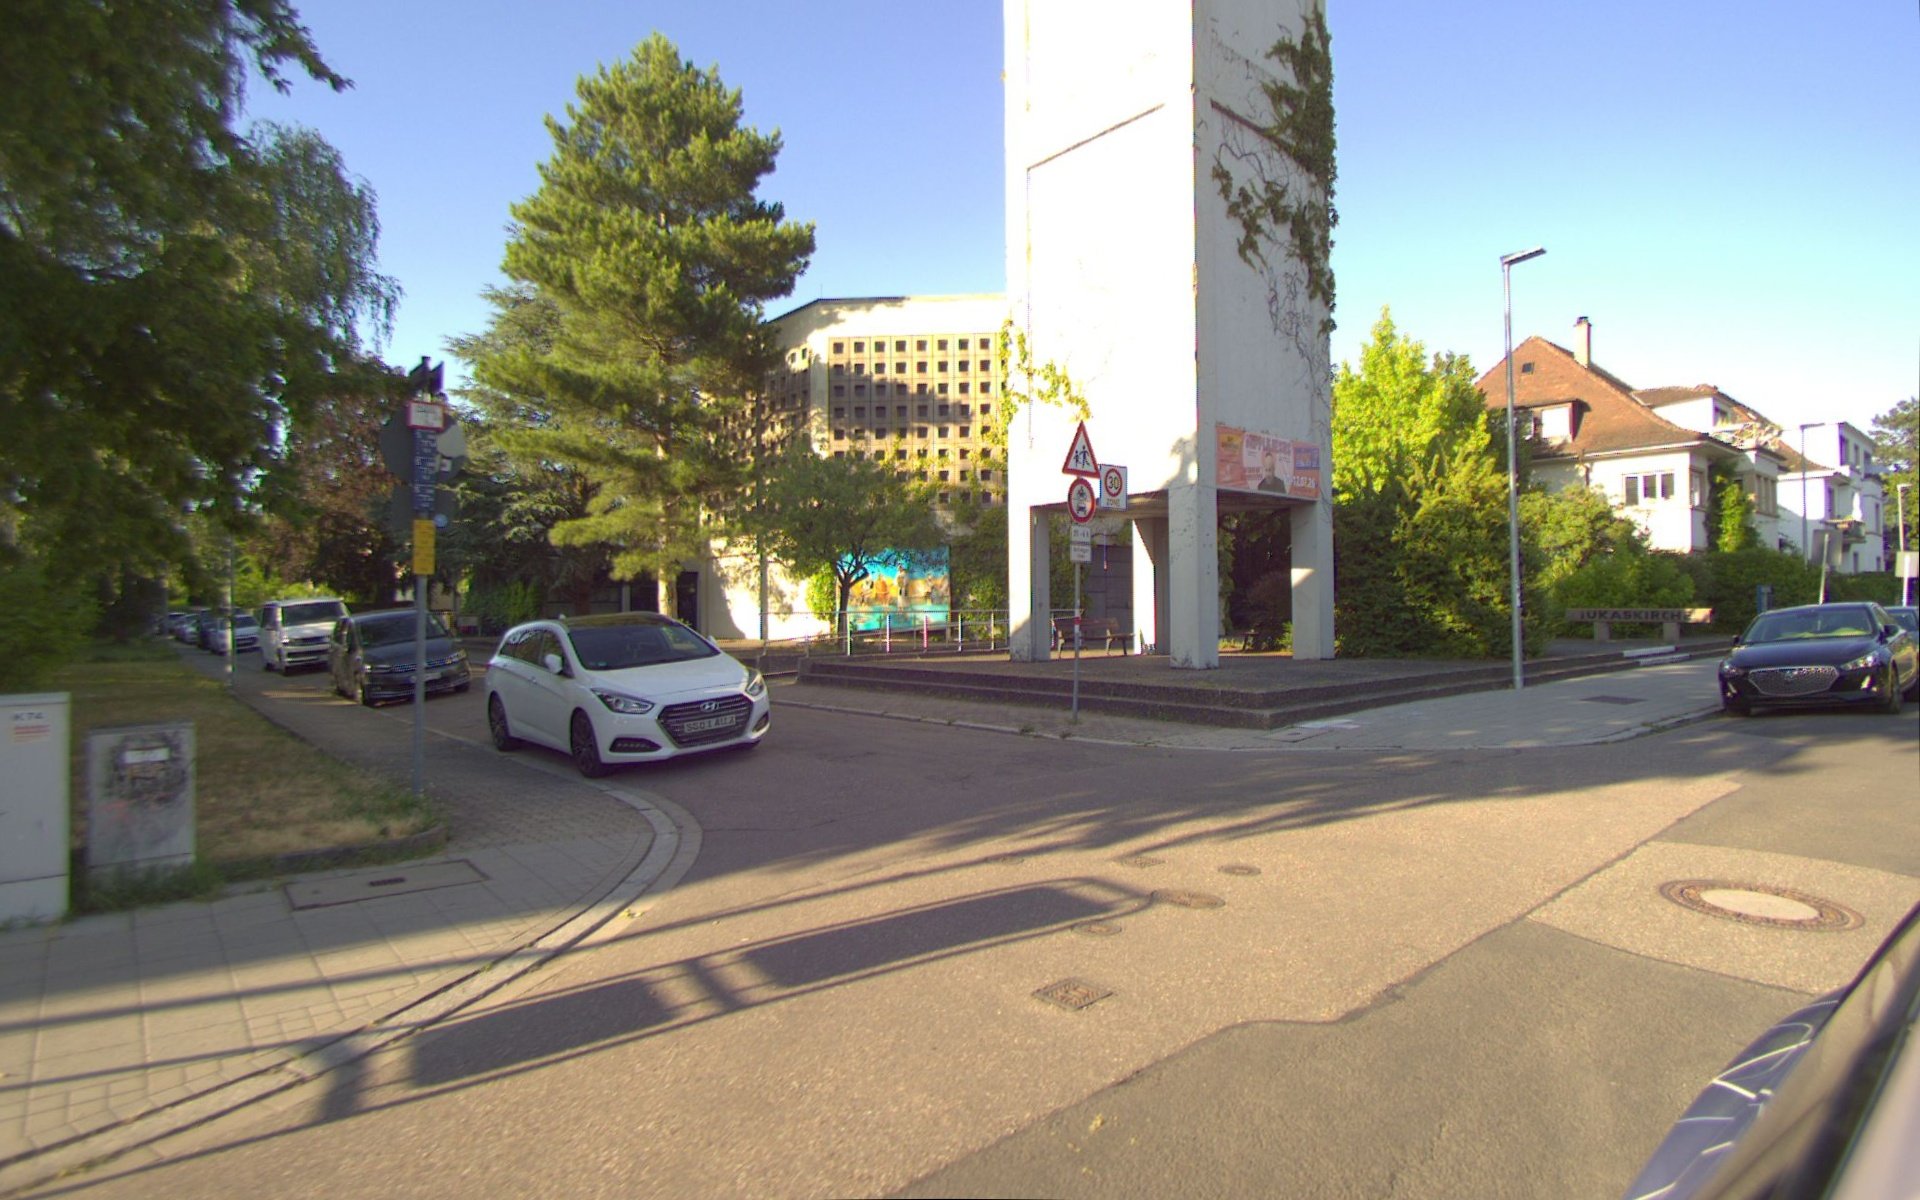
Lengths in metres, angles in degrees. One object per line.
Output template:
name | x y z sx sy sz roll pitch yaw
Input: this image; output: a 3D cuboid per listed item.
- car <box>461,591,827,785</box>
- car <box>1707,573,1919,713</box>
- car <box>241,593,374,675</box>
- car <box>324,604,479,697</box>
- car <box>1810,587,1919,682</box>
car | -3.643 0.785 10.987 1.969 1.504 4.854 -5 2 -40
car | 12.214 0.571 14.037 4.539 1.582 1.824 0 -7 -40
car | -18.347 0.888 28.340 2.139 1.997 5.005 -4 2 -44
car | -10.630 0.883 19.120 1.963 1.529 4.125 0 -1 -38
car | 17.104 0.609 18.463 4.100 1.548 1.689 1 -5 -40
